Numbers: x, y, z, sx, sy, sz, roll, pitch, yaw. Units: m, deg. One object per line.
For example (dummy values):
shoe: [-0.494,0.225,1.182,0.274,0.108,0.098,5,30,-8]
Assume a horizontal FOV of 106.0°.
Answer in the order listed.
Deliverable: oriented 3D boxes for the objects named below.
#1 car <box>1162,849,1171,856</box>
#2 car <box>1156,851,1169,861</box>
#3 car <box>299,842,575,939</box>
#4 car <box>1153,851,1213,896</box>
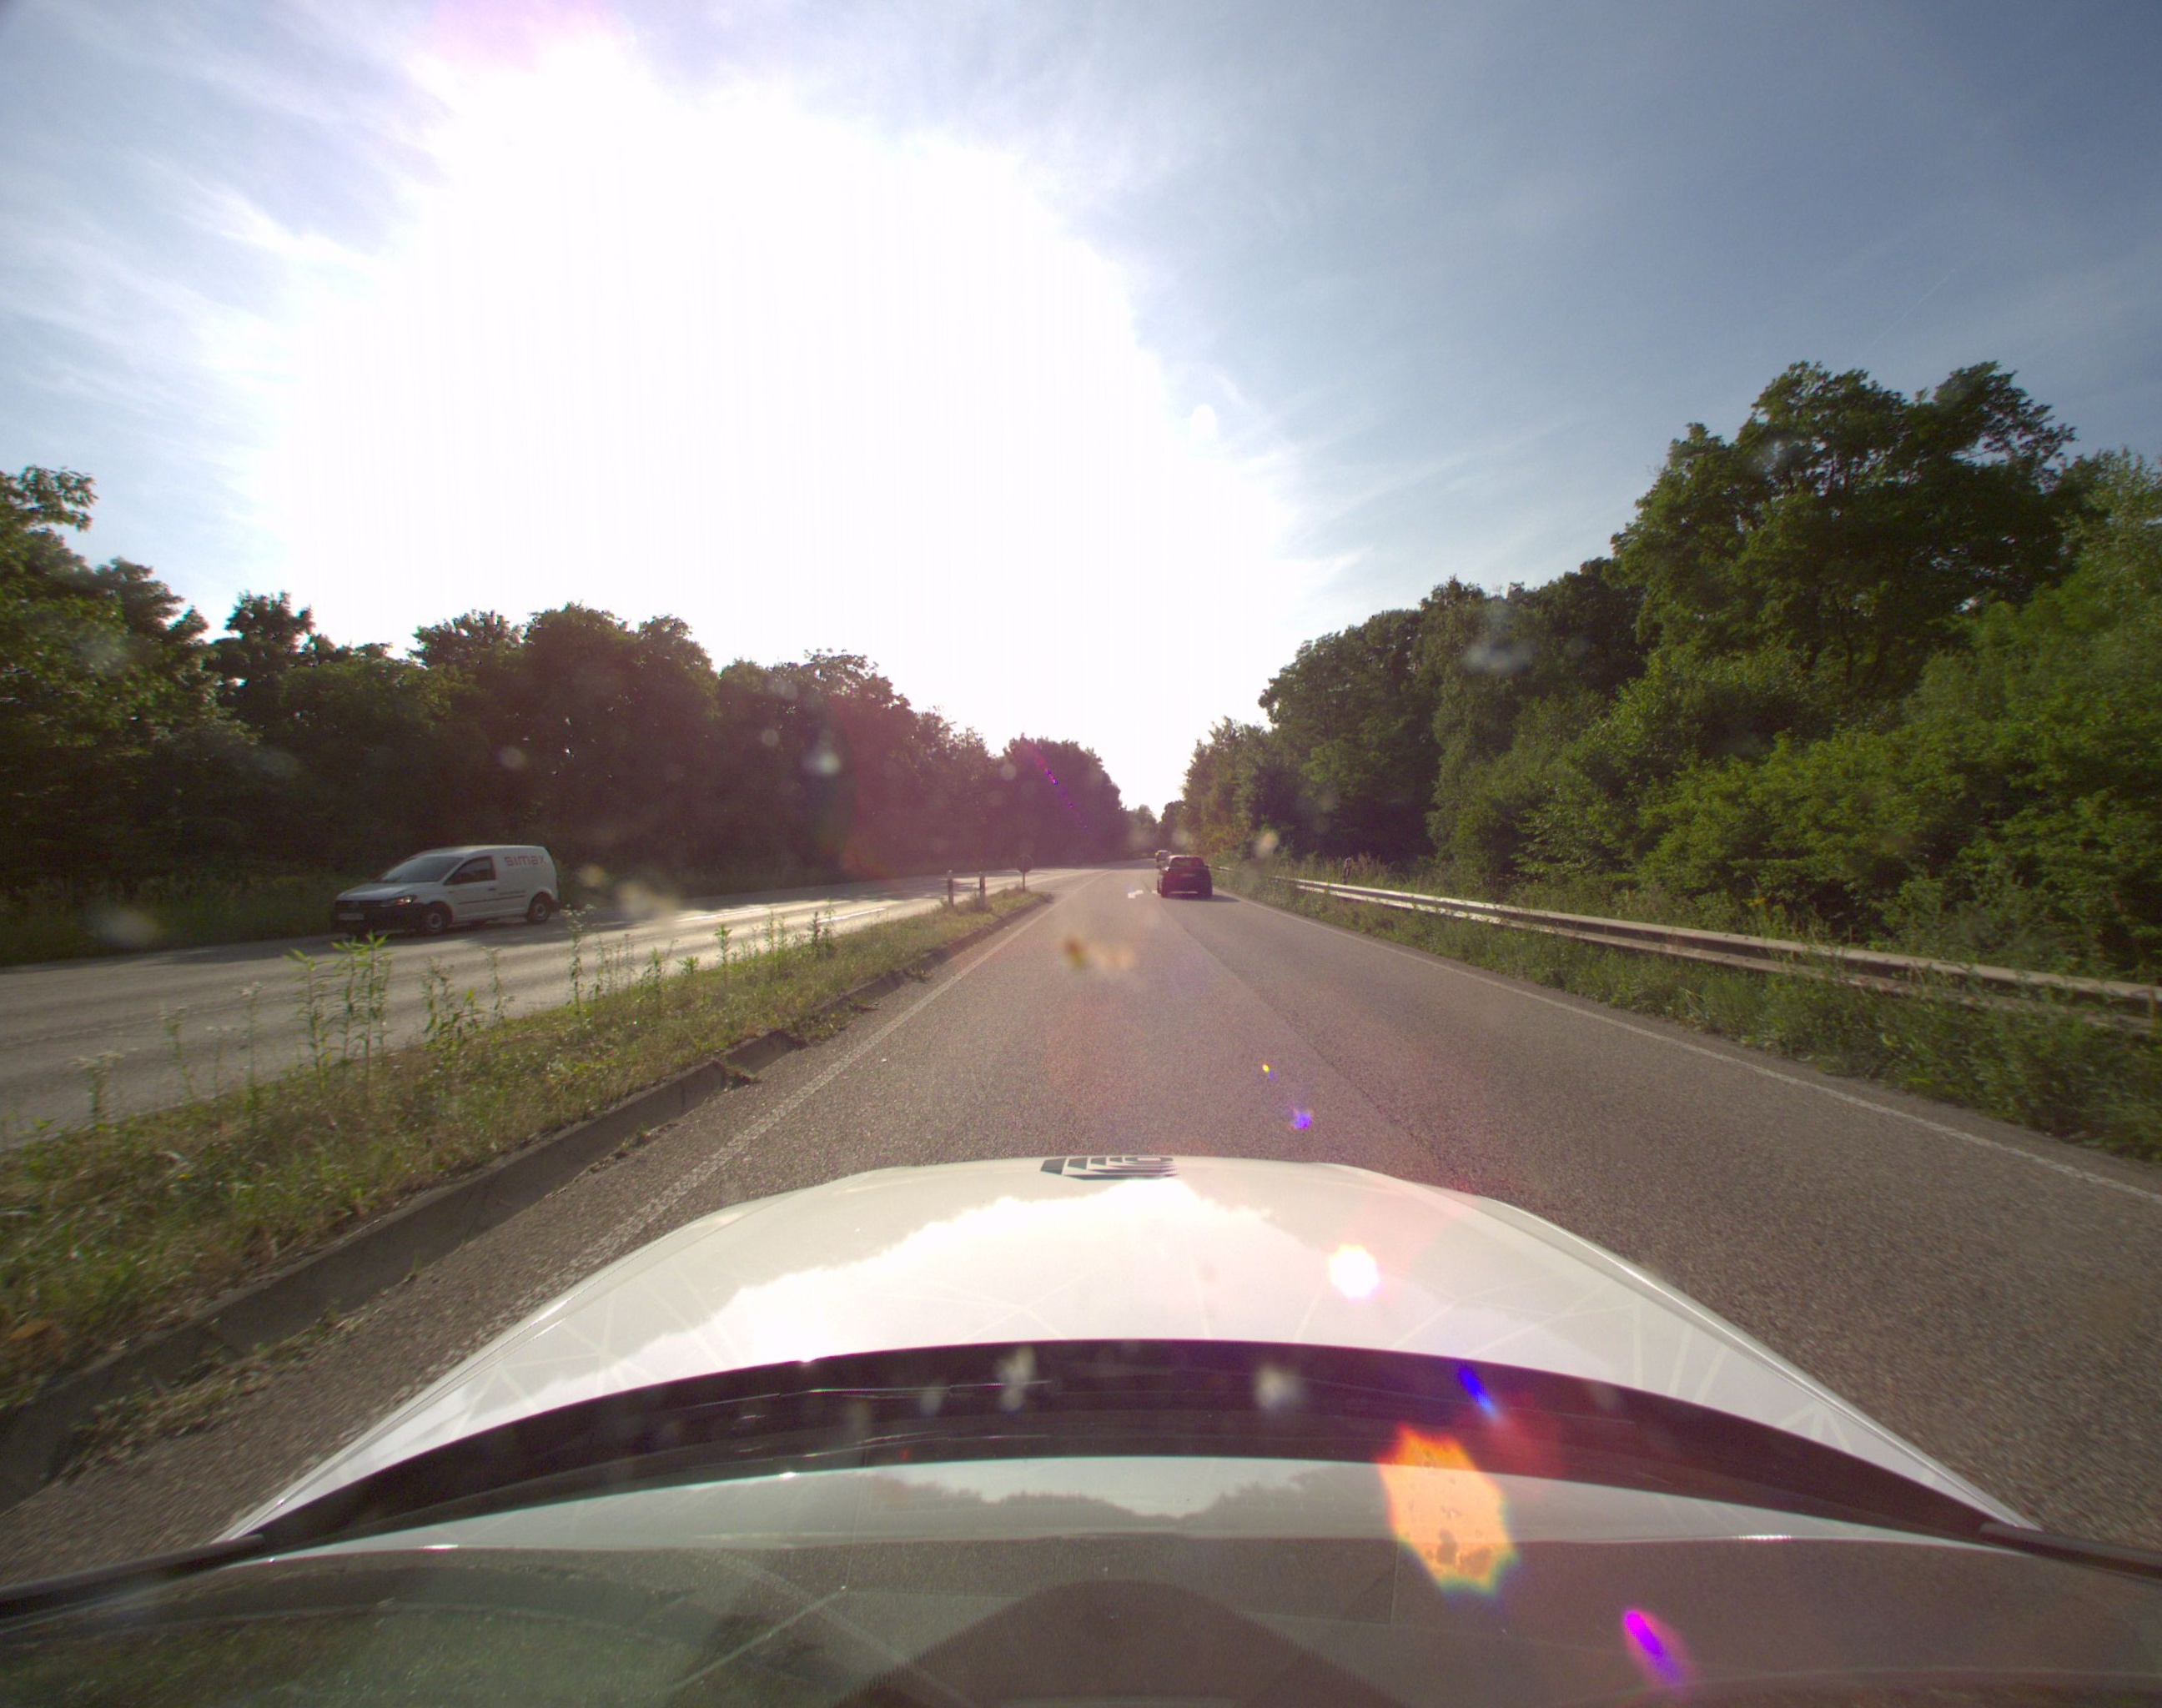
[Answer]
car: [17.980,-0.360,171.722,1.753,1.380,3.976,-1,-1,4]
car: [11.797,0.233,118.020,1.753,1.380,3.976,-1,-1,4]
car: [-13.483,0.717,17.528,1.840,1.786,4.678,-1,-1,7]
car: [3.589,0.685,29.202,1.812,1.468,3.874,-1,-1,2]
